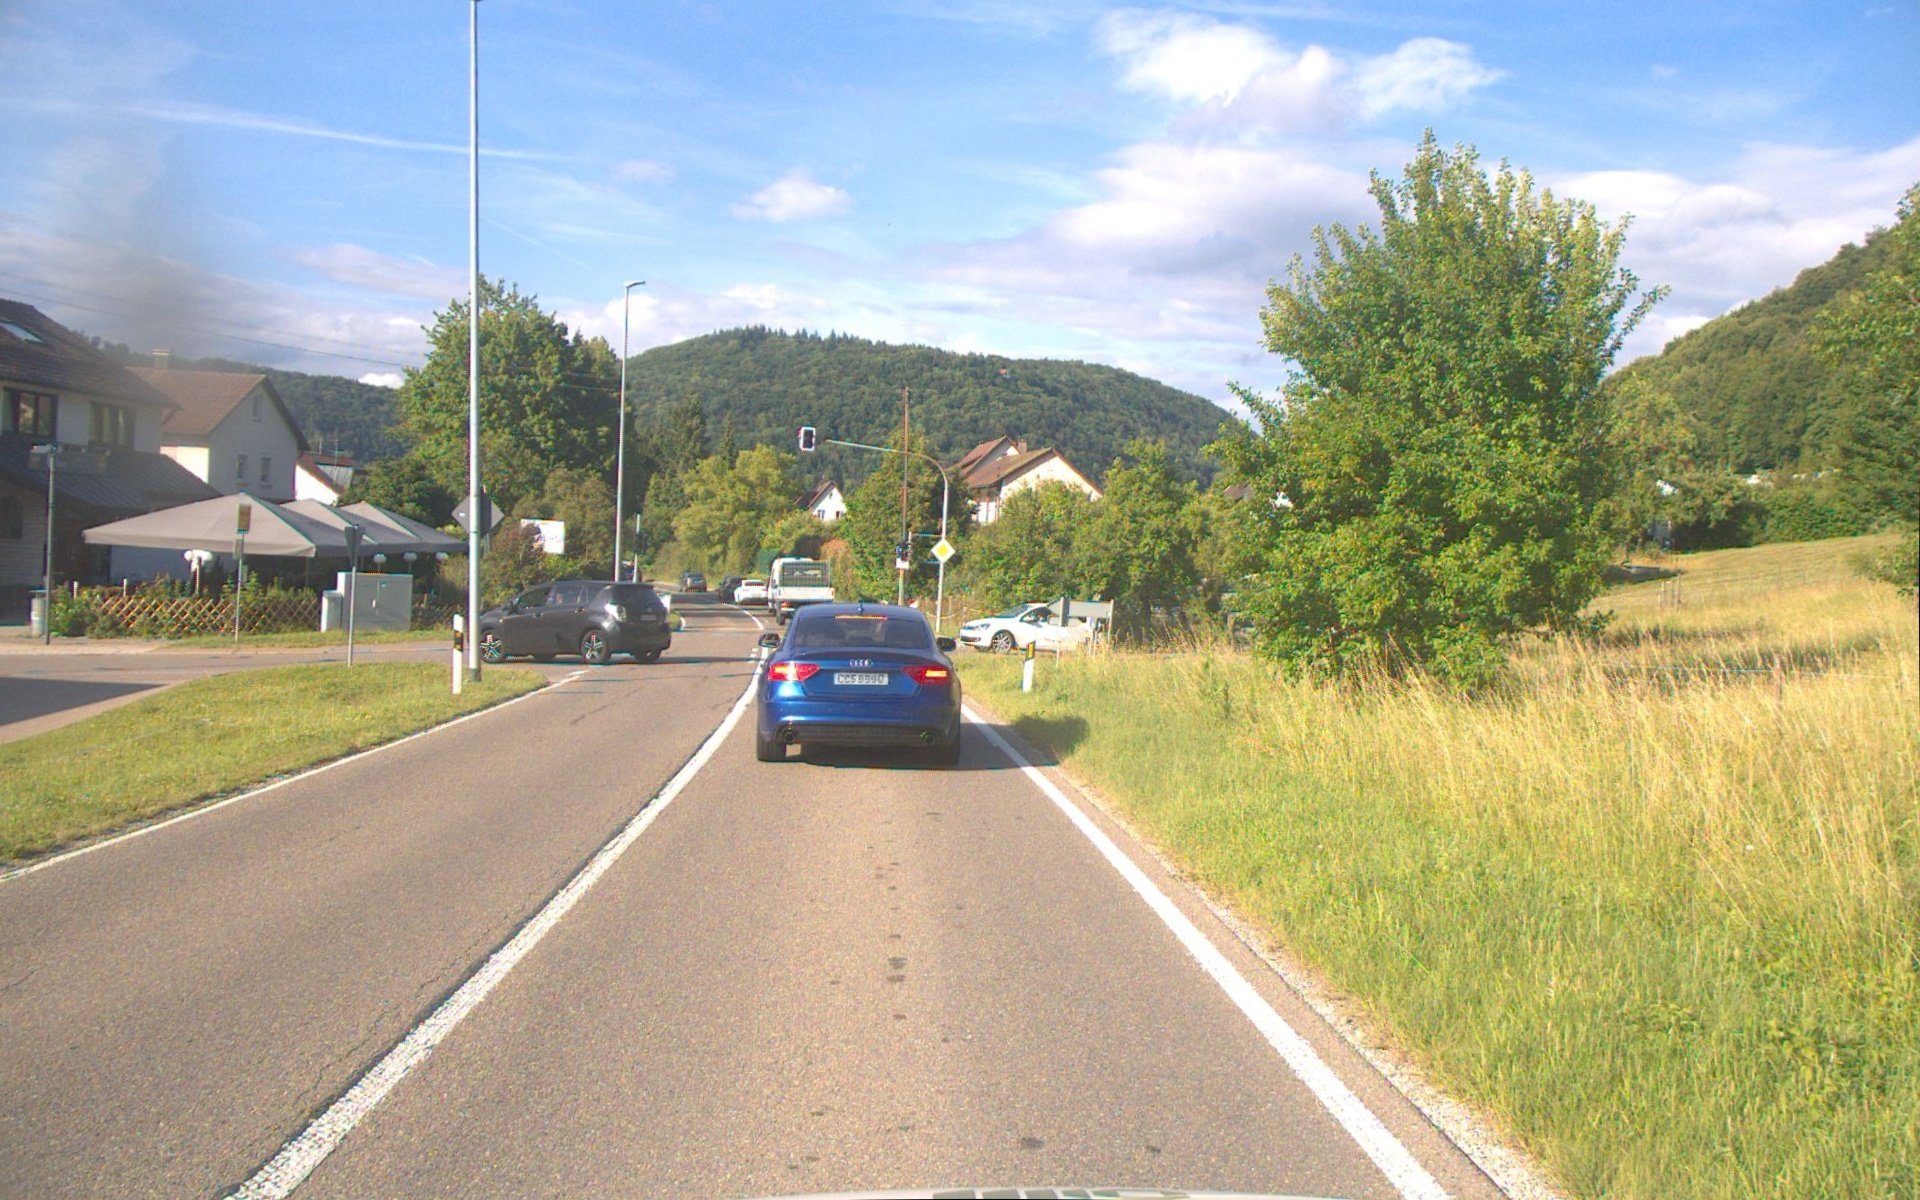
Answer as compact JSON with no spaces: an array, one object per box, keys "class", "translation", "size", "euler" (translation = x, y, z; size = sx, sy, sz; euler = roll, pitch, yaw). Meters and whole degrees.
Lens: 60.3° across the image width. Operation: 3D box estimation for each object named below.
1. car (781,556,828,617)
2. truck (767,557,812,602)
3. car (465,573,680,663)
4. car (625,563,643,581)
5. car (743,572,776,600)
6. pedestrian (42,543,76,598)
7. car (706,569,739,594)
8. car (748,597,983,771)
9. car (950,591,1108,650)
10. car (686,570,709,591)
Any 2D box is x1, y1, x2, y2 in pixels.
[{"class":"car","translation":[-6.007,-0.491,63.904],"size":[1.712,2.234,3.995],"euler":[1,-1,-5]},{"class":"truck","translation":[-8.041,-0.914,77.584],"size":[1.667,1.988,5.907],"euler":[1,0,-10]},{"class":"car","translation":[-7.734,0.345,33.002],"size":[3.907,1.668,1.751],"euler":[1,-1,24]},{"class":"car","translation":[-31.463,-2.702,159.559],"size":[1.597,1.604,3.669],"euler":[1,-1,-11]},{"class":"car","translation":[-11.489,-0.779,94.733],"size":[1.667,1.516,3.518],"euler":[1,-1,-10]},{"class":"pedestrian","translation":[-25.216,-0.820,46.301],"size":[0.596,1.529,0.589],"euler":[1,-1,-1]},{"class":"car","translation":[-15.149,-1.179,105.371],"size":[1.669,1.516,3.514],"euler":[1,-1,-14]},{"class":"car","translation":[-0.746,0.704,15.512],"size":[1.758,1.412,4.001],"euler":[0,-1,3]},{"class":"car","translation":[1.890,0.576,45.793],"size":[3.983,1.534,1.845],"euler":[1,-1,-19]},{"class":"car","translation":[-20.028,-1.500,126.309],"size":[1.666,1.516,3.520],"euler":[1,-1,-8]}]
